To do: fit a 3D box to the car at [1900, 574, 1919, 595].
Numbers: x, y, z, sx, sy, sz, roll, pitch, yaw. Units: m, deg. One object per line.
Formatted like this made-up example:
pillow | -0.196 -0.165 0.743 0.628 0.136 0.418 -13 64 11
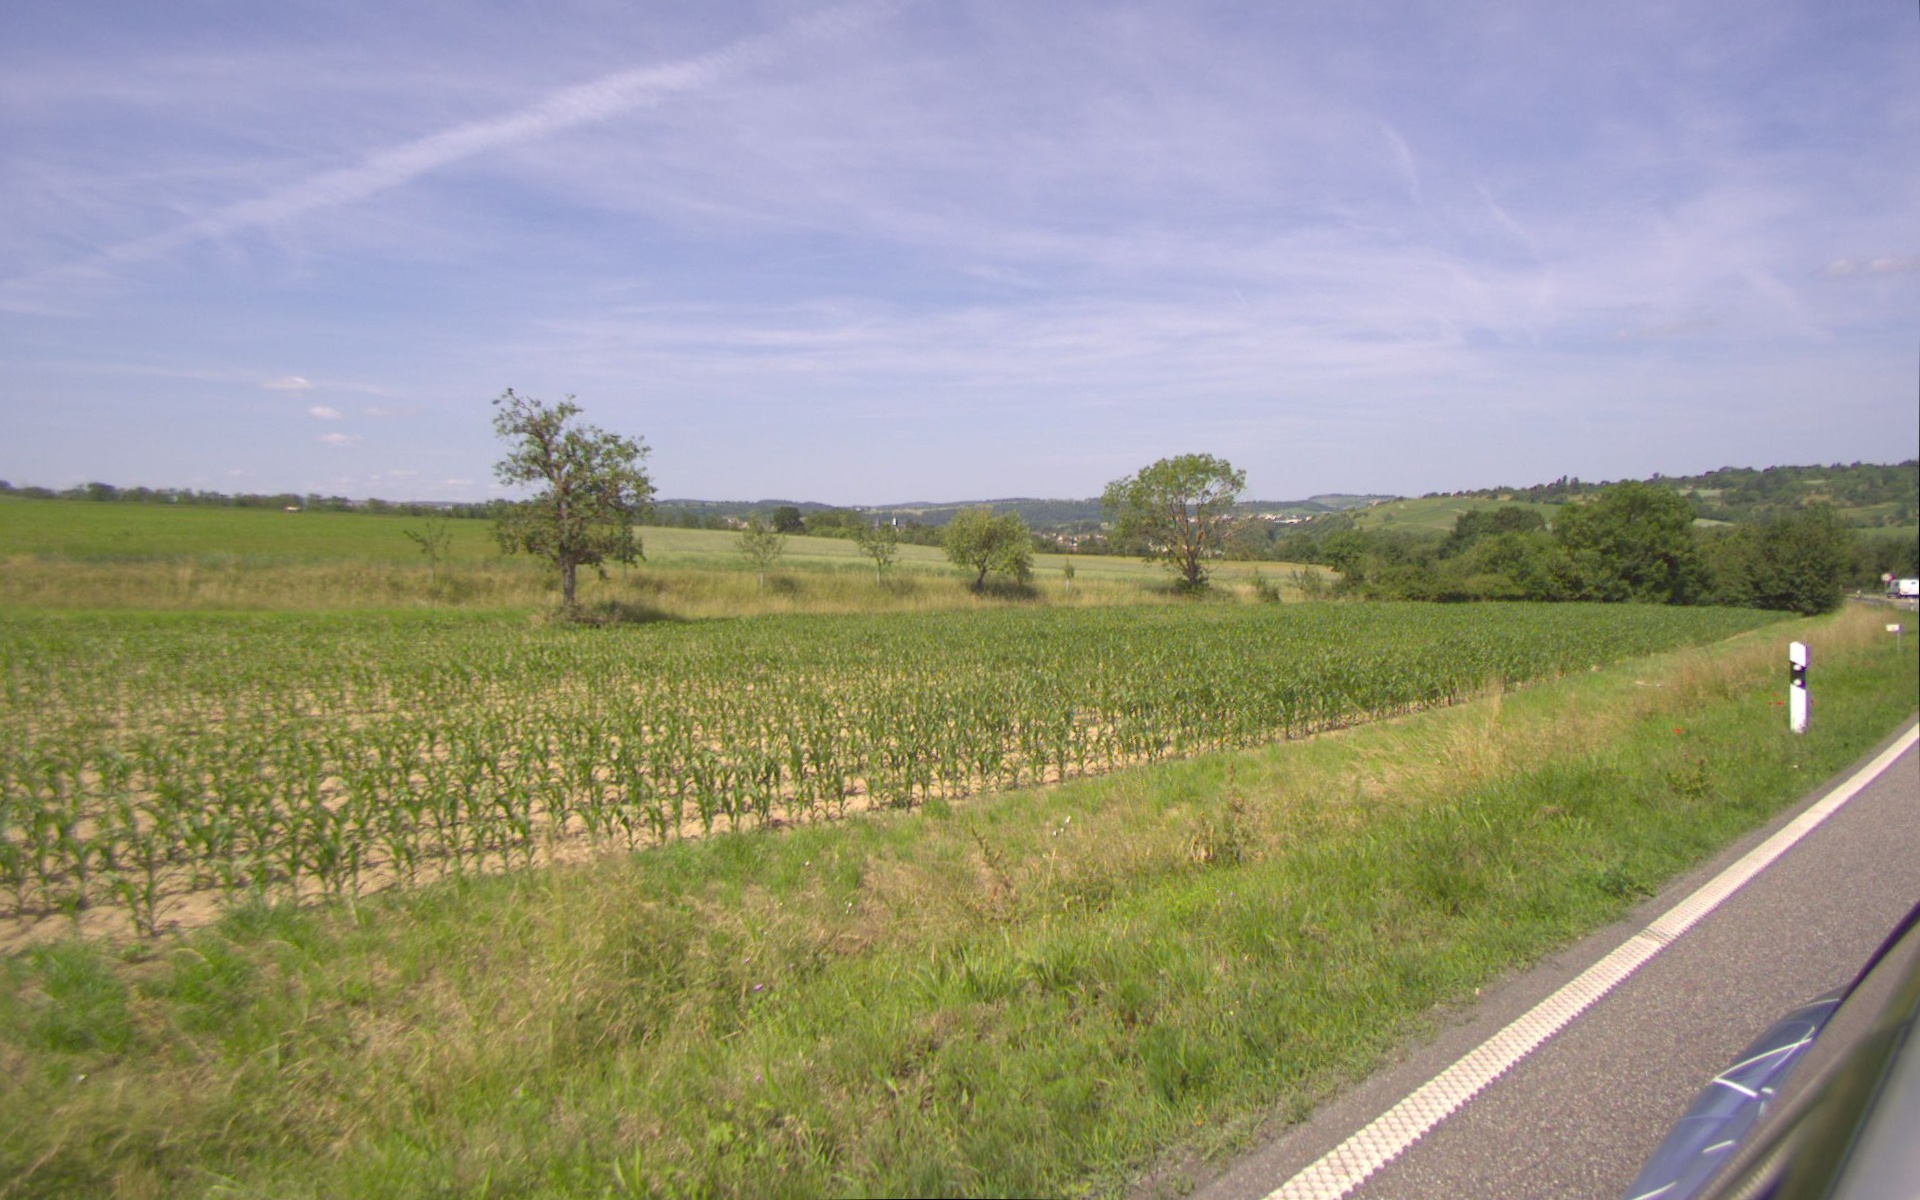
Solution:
car | 119.381 -1.892 125.955 2.077 2.425 5.784 1 0 29
